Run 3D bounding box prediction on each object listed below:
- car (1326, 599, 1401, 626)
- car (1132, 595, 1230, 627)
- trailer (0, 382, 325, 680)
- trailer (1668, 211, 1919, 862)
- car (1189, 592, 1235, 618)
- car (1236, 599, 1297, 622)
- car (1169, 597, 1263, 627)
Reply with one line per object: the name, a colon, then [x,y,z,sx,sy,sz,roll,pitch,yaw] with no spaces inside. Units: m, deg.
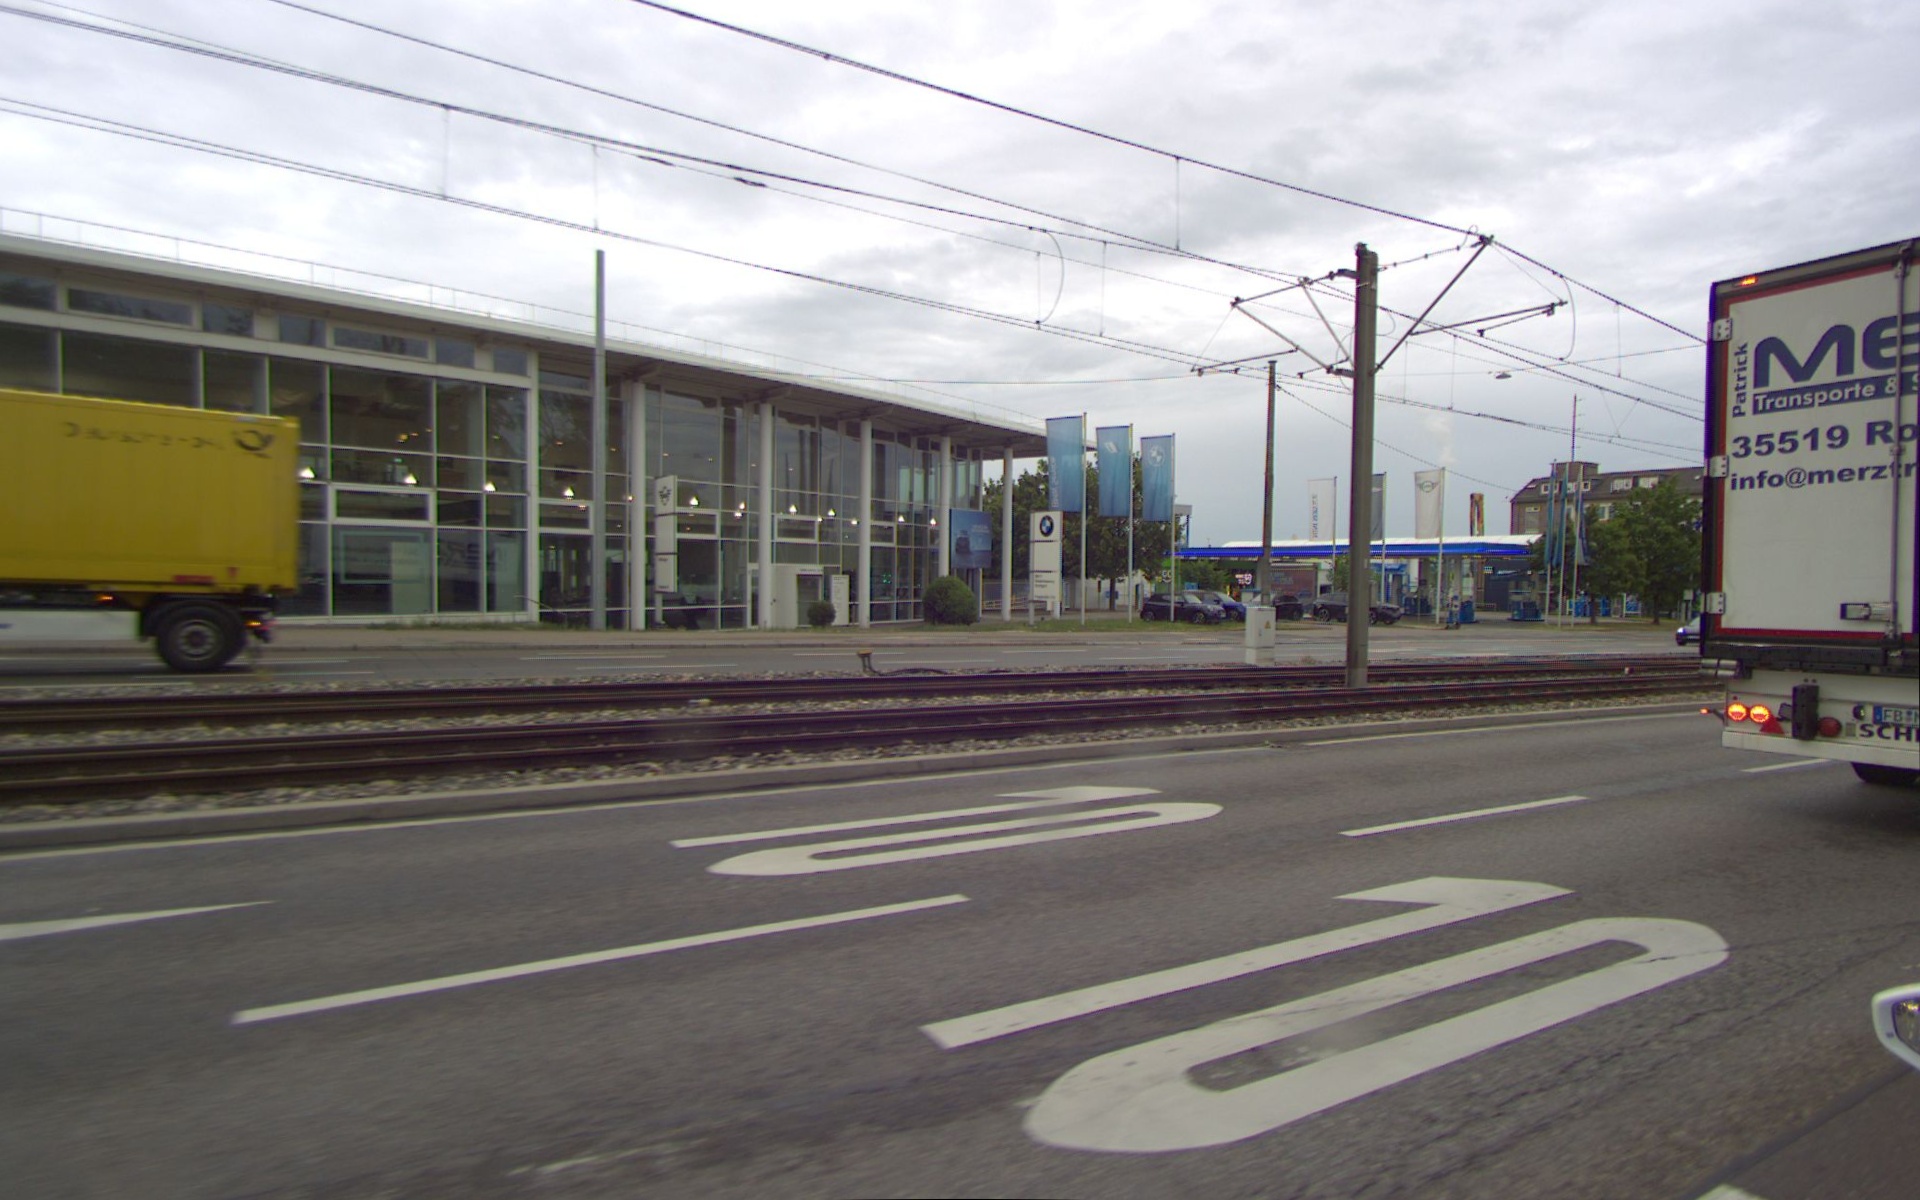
car: [21.632,0.645,53.977,1.695,1.291,3.501,1,1,-28]
car: [9.936,0.464,45.285,3.937,1.252,1.696,2,3,38]
trailer: [-14.563,-0.977,14.565,8.986,4.105,2.667,1,0,-33]
trailer: [11.848,-0.334,10.135,13.032,4.309,2.748,1,0,-31]
car: [16.230,0.316,64.654,2.772,1.594,1.373,1,1,-34]
car: [17.409,0.603,57.072,3.397,1.260,1.575,1,1,-36]
car: [12.106,0.579,47.561,3.937,1.251,1.754,2,0,38]
